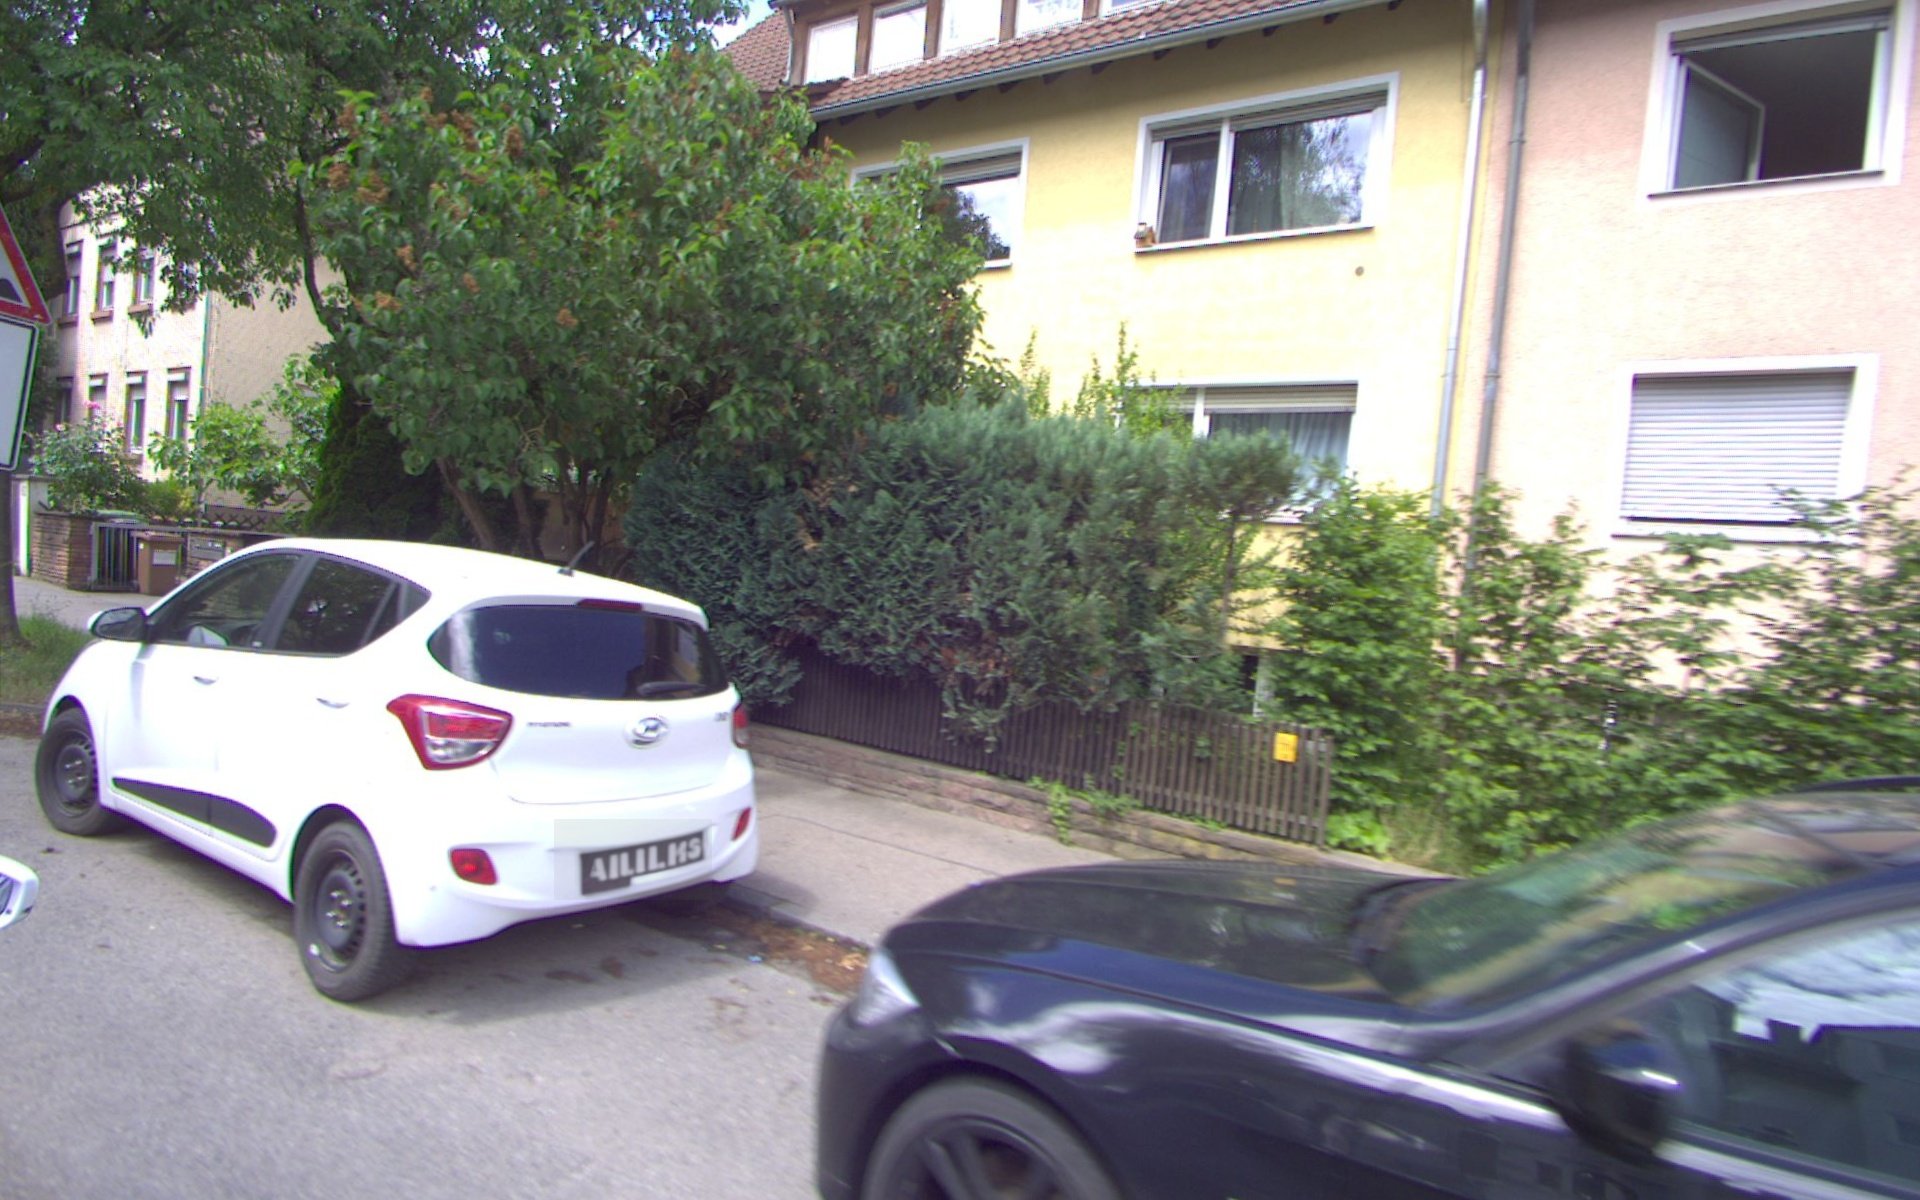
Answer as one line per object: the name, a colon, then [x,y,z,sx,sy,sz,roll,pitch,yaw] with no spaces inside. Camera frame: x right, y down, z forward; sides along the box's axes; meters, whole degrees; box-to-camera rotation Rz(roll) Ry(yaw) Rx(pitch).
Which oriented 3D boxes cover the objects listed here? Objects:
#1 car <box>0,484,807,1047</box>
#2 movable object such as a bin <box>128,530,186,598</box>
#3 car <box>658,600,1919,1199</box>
car: [-2.722,0.419,4.647,3.716,1.527,1.622,7,2,32]
movable object such as a bin: [-12.056,-0.533,15.102,0.511,0.948,0.507,9,5,31]
car: [1.779,0.990,1.888,4.514,1.442,1.994,7,2,33]
